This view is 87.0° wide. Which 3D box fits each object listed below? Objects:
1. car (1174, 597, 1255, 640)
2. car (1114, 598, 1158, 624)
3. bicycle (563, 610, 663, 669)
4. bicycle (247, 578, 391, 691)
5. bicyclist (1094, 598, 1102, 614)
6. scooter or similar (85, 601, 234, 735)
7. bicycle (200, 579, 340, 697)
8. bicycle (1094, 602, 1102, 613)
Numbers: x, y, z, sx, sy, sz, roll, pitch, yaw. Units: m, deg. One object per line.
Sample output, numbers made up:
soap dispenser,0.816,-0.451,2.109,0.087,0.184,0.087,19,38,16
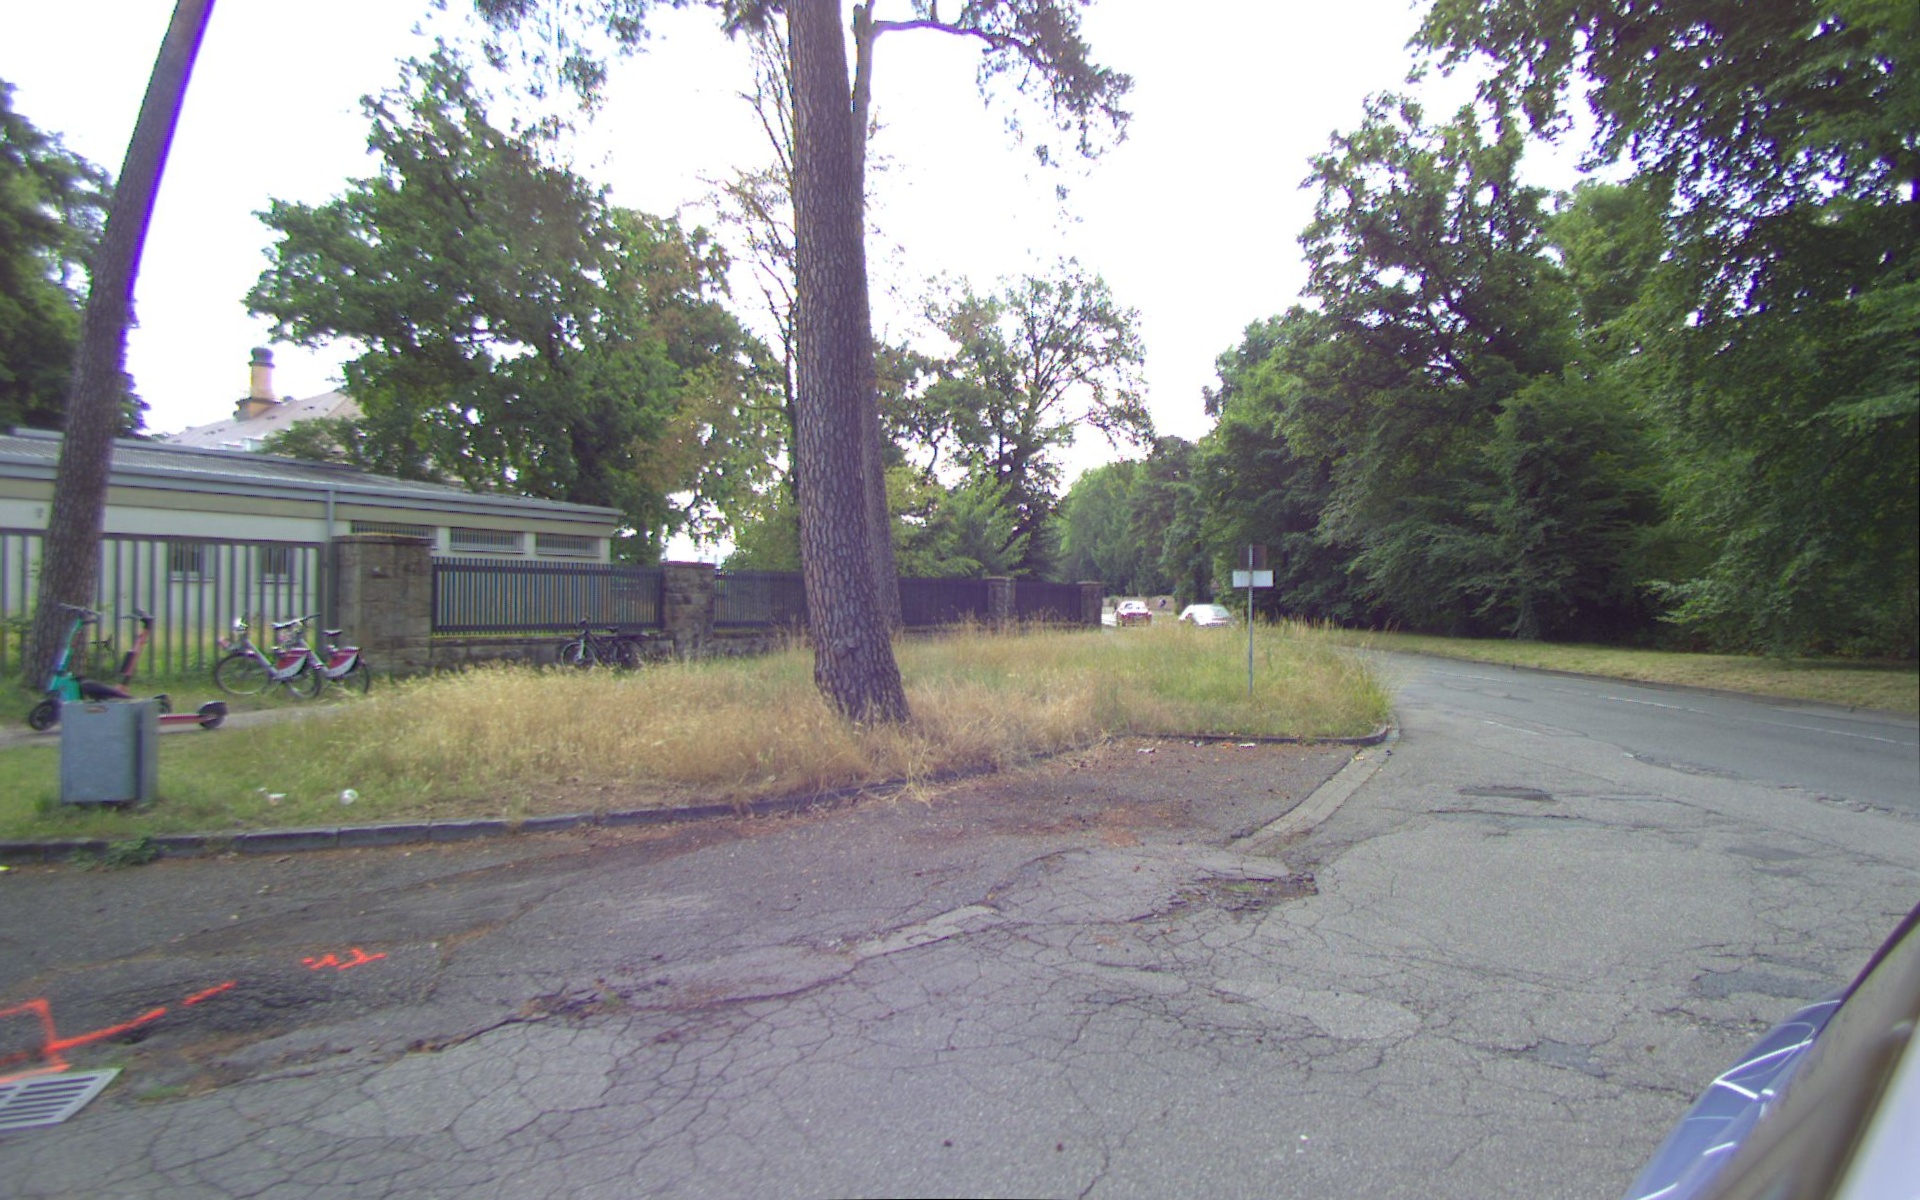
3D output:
car,9.678,0.746,38.840,1.930,1.483,4.527,-1,-2,0
car,10.383,0.610,60.007,1.963,1.482,4.202,0,0,2
bicycle,-6.511,0.722,19.082,0.371,1.029,1.928,0,0,35
bicycle,-8.672,0.434,13.683,1.958,1.435,0.574,1,0,21
bicyclist,14.046,0.577,102.985,0.561,1.608,1.205,2,-1,2
scooter or similar,-7.997,0.644,10.143,0.435,1.243,1.079,-1,0,30
bicycle,-8.968,0.466,13.149,1.777,1.435,0.585,2,0,21
bicycle,14.037,0.751,103.031,0.549,1.086,2.156,2,-1,2
